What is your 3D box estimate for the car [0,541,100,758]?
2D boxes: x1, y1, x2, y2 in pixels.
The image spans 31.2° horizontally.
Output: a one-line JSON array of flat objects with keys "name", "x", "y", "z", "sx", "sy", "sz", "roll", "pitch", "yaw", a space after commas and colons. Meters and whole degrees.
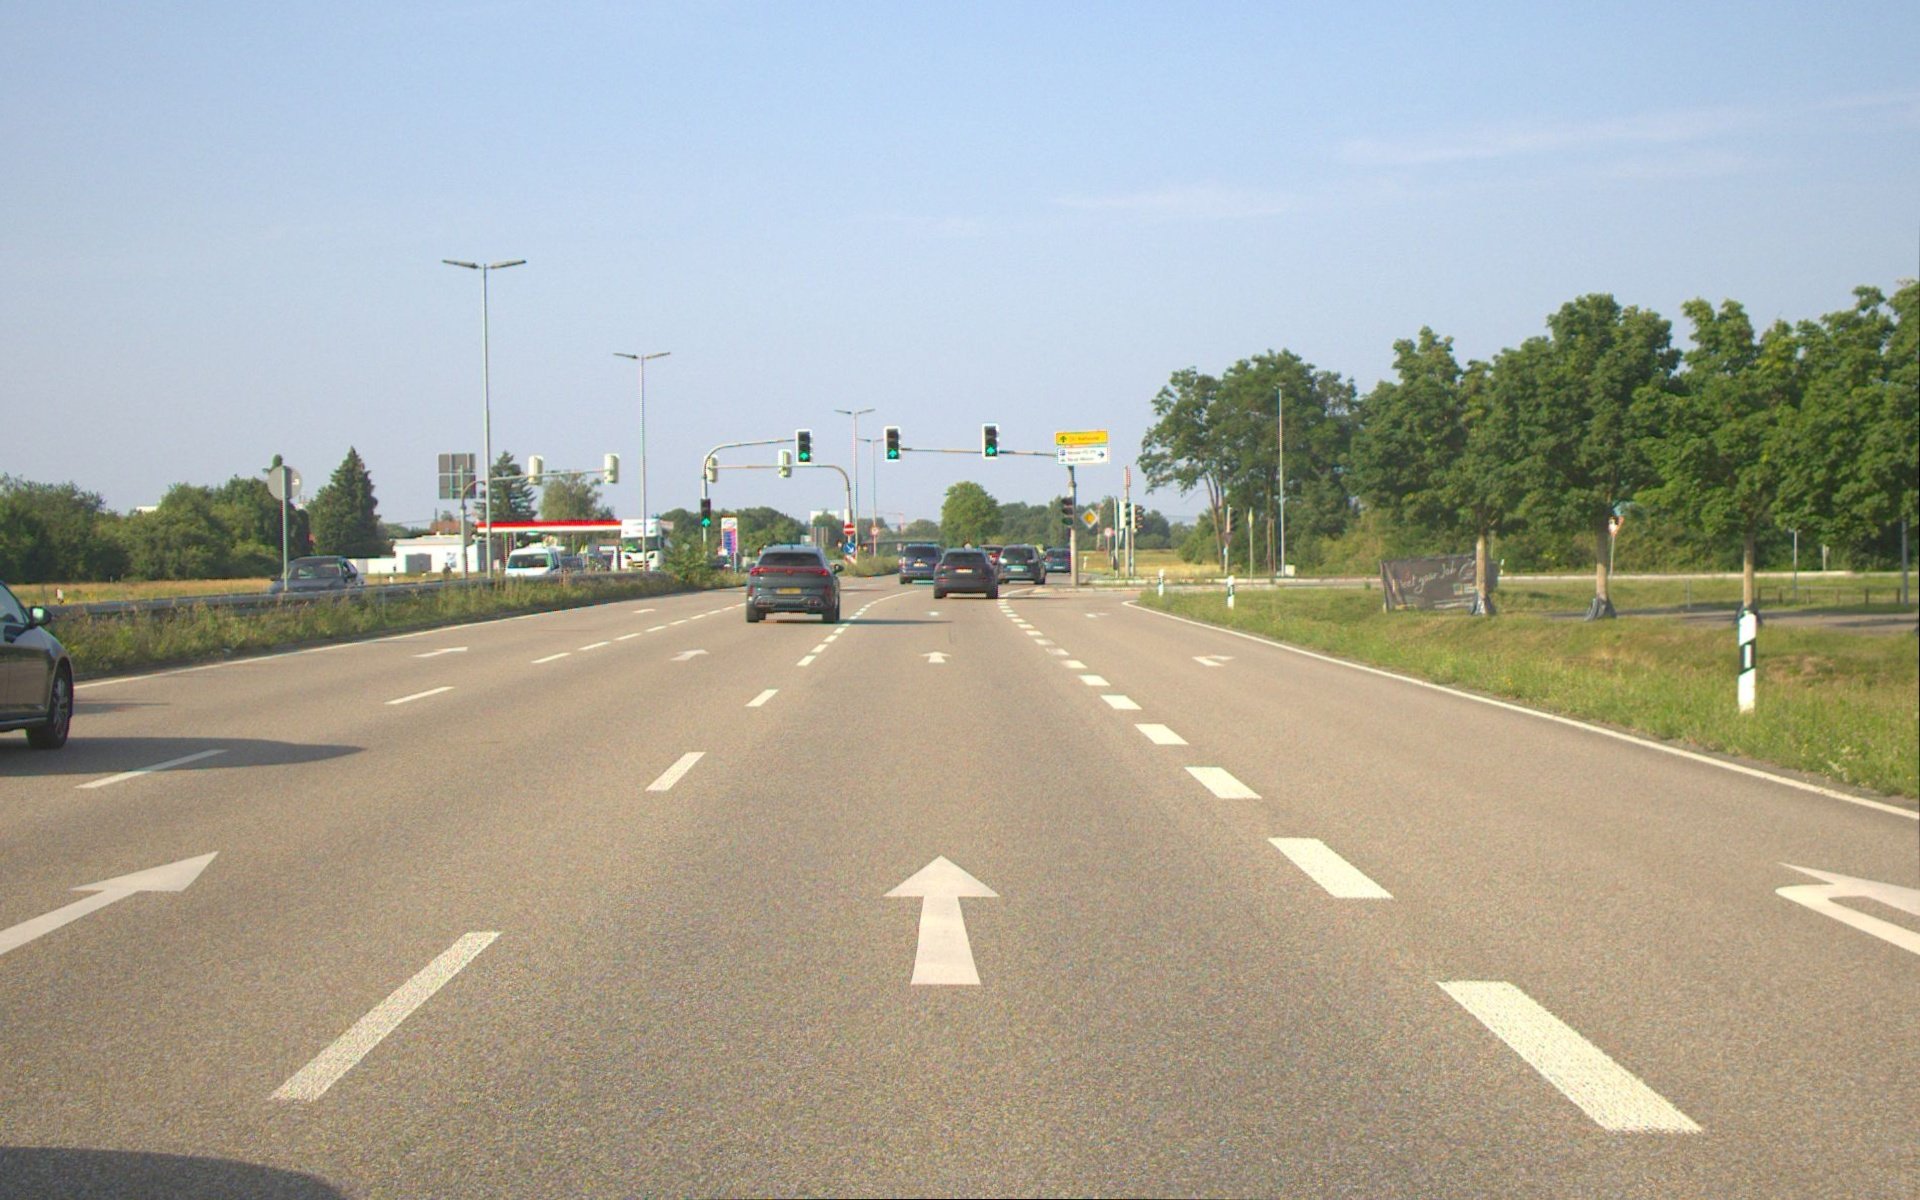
[{"name": "car", "x": -7.351, "y": 0.338, "z": 23.752, "sx": 1.646, "sy": 1.466, "sz": 4.777, "roll": 0, "pitch": 1, "yaw": 0}]

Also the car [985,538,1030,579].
[{"name": "car", "x": 1.976, "y": -1.747, "z": 142.907, "sx": 1.749, "sy": 1.612, "sz": 3.758, "roll": 2, "pitch": 1, "yaw": 0}]

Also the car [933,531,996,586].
[{"name": "car", "x": 0.112, "y": -1.354, "z": 110.502, "sx": 1.932, "sy": 1.674, "sz": 4.401, "roll": 2, "pitch": 1, "yaw": 0}]

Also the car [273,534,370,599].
[{"name": "car", "x": -14.804, "y": -0.768, "z": 79.866, "sx": 1.610, "sy": 1.436, "sz": 3.620, "roll": 1, "pitch": 0, "yaw": -1}]

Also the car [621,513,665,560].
[{"name": "car", "x": -19.597, "y": -3.919, "z": 212.582, "sx": 2.271, "sy": 2.843, "sz": 5.249, "roll": 0, "pitch": 1, "yaw": -1}]

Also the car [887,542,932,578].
[{"name": "car", "x": -2.096, "y": -1.676, "z": 142.859, "sx": 1.812, "sy": 1.458, "sz": 4.401, "roll": 0, "pitch": 1, "yaw": 0}]

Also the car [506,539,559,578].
[{"name": "car", "x": -15.392, "y": -1.500, "z": 123.932, "sx": 1.521, "sy": 1.358, "sz": 3.444, "roll": 0, "pitch": 1, "yaw": -1}]

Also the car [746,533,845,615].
[{"name": "car", "x": -3.414, "y": -0.577, "z": 71.991, "sx": 1.845, "sy": 1.606, "sz": 4.401, "roll": 2, "pitch": 1, "yaw": 0}]

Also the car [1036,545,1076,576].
[{"name": "car", "x": 5.246, "y": -2.147, "z": 187.457, "sx": 1.946, "sy": 1.630, "sz": 3.448, "roll": 1, "pitch": 0, "yaw": -2}]
